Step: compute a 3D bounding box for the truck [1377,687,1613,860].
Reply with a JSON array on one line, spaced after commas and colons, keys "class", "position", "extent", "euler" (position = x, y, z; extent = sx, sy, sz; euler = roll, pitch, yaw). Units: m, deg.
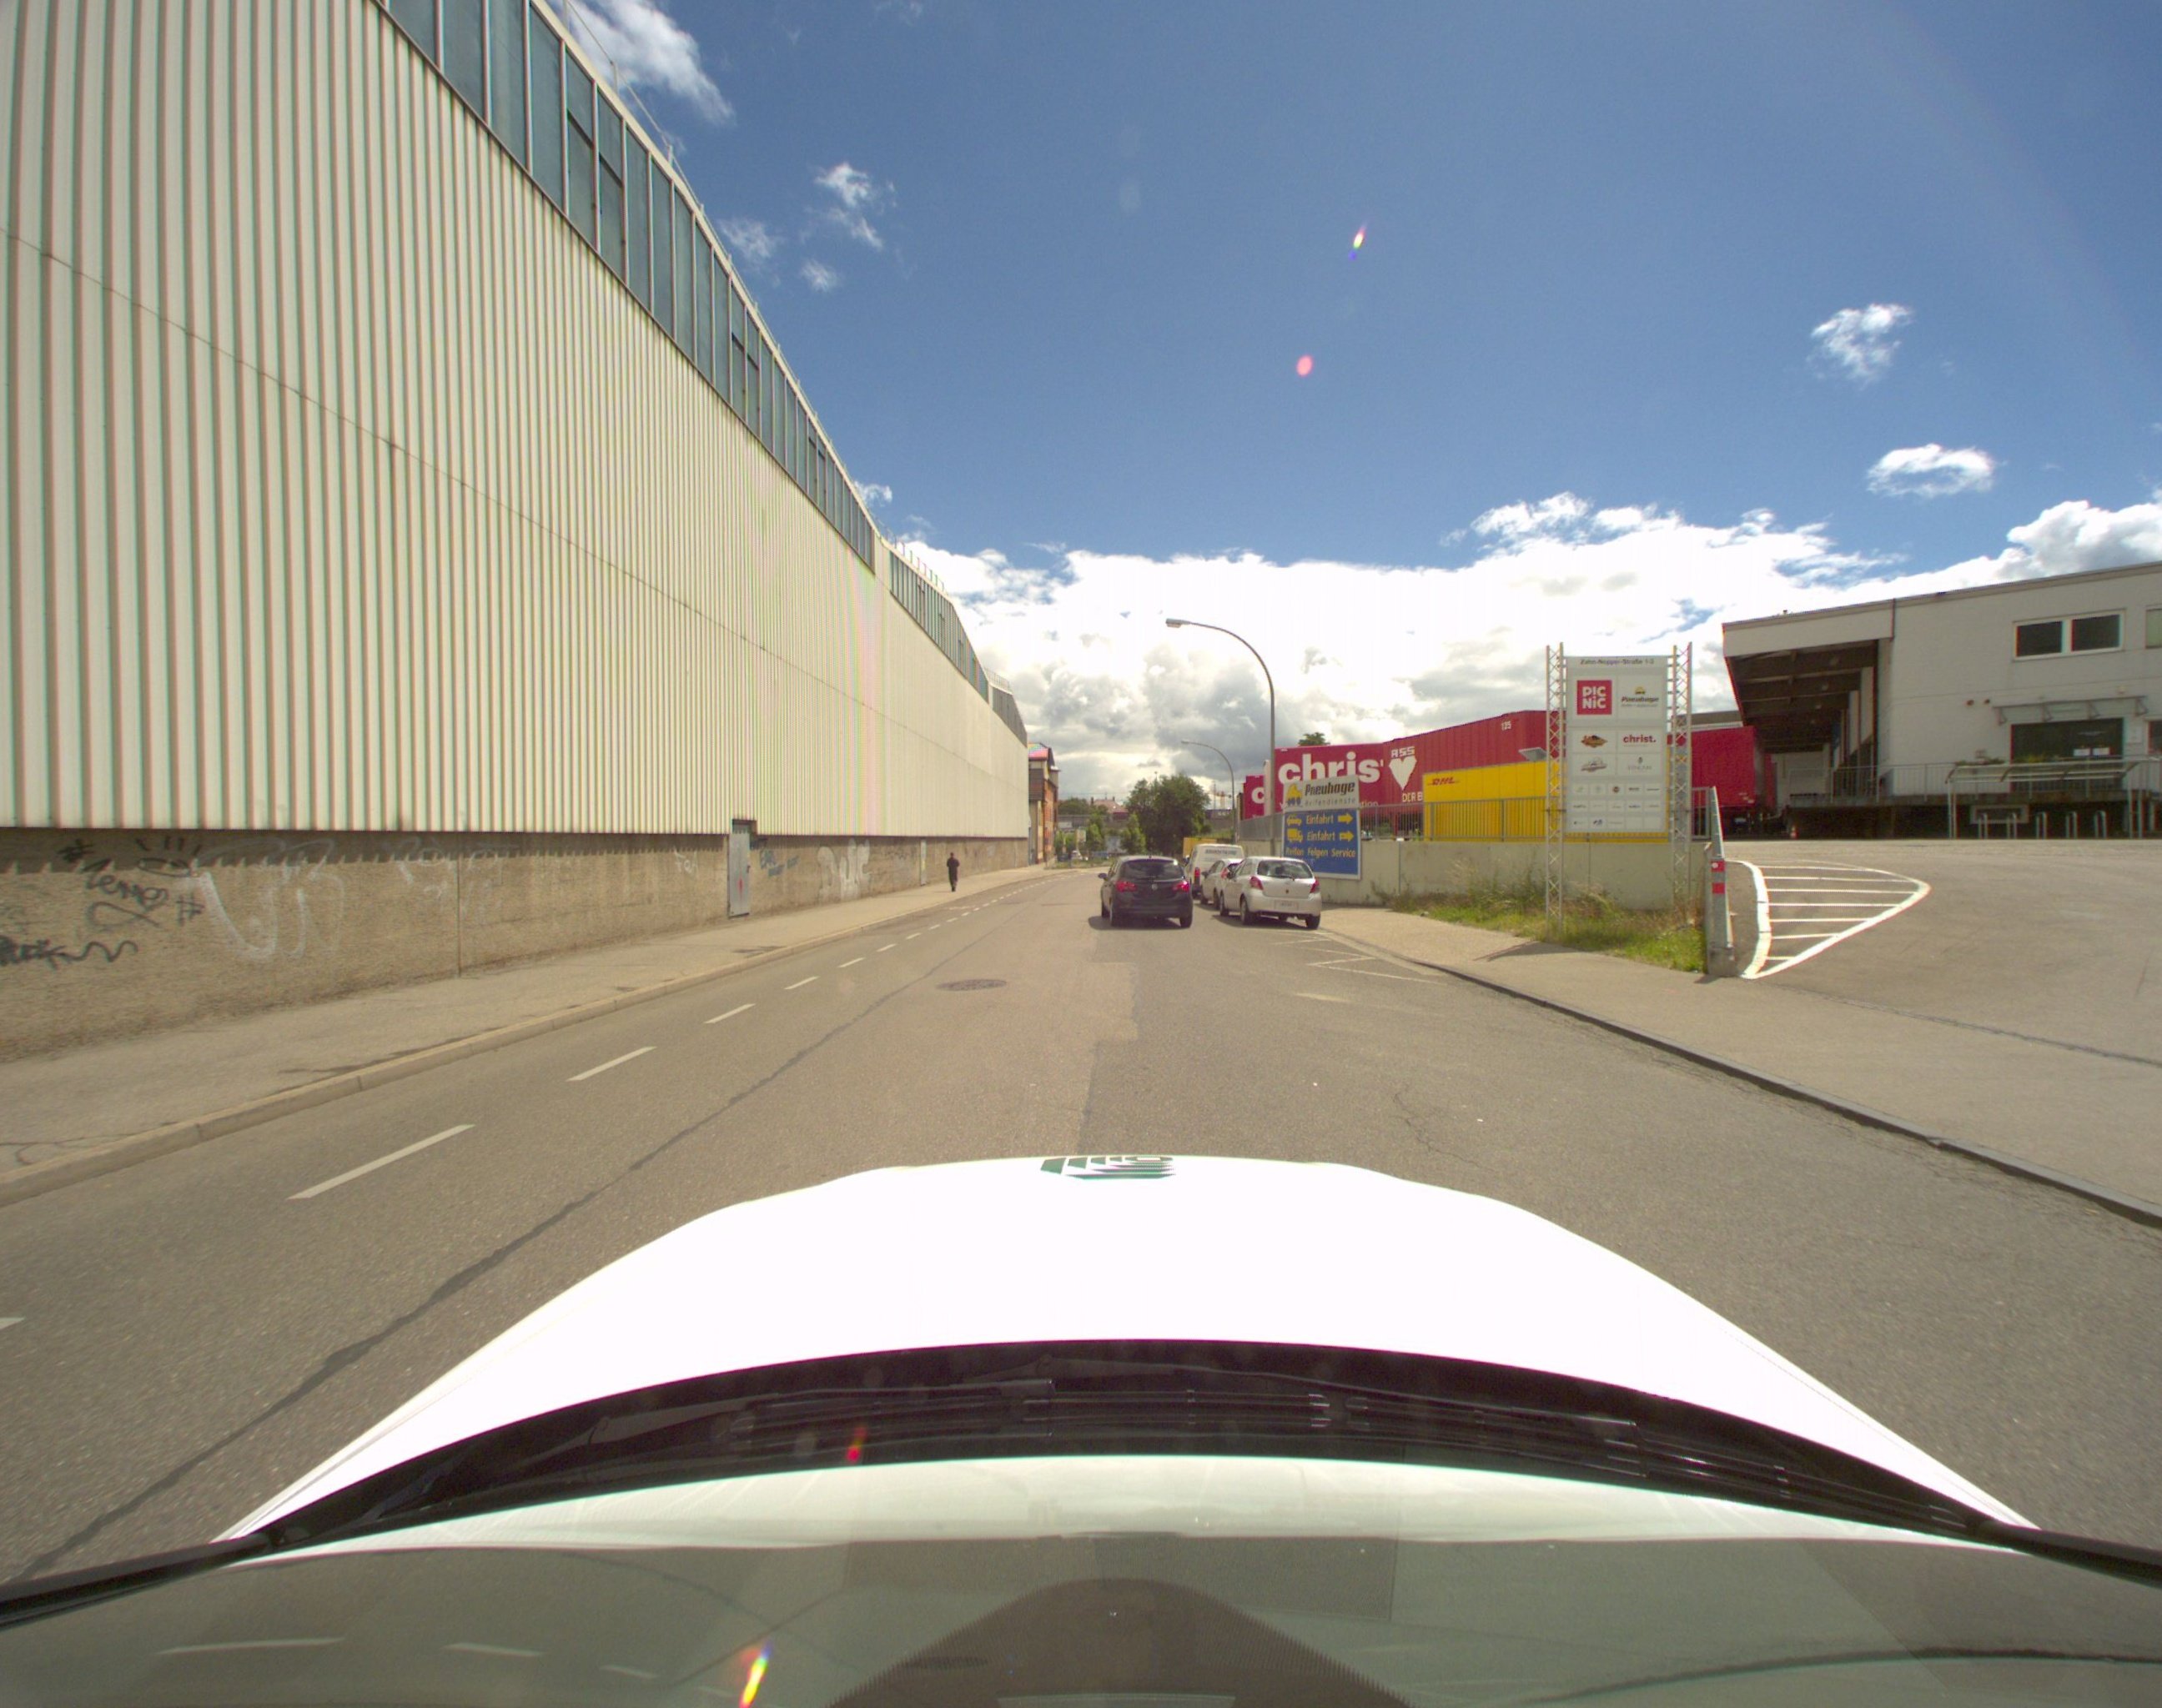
[{"class": "truck", "position": [12.615, -2.143, 25.875], "extent": [2.573, 4.449, 7.838], "euler": [0, -2, -9]}]

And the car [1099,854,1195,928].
[{"class": "car", "position": [1.345, 0.729, 18.030], "extent": [1.697, 1.447, 3.791], "euler": [0, 0, -2]}]

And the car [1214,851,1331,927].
[{"class": "car", "position": [4.305, 0.720, 18.902], "extent": [1.696, 1.527, 3.735], "euler": [2, 0, -2]}]

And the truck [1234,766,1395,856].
[{"class": "truck", "position": [12.962, -2.310, 45.784], "extent": [8.392, 4.671, 2.591], "euler": [-1, -2, 12]}]

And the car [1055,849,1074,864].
[{"class": "car", "position": [-1.750, 0.248, 86.029], "extent": [1.846, 1.486, 4.001], "euler": [0, -2, 1]}]

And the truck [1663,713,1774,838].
[{"class": "truck", "position": [25.892, -2.851, 32.902], "extent": [2.961, 4.060, 8.529], "euler": [-2, -2, 41]}]

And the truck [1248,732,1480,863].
[{"class": "truck", "position": [11.174, -2.044, 32.594], "extent": [8.375, 4.671, 2.596], "euler": [-1, -2, 22]}]

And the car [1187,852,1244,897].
[{"class": "car", "position": [4.832, 0.702, 29.707], "extent": [1.694, 1.527, 3.741], "euler": [0, 0, 4]}]

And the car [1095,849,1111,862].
[{"class": "car", "position": [2.676, 0.188, 97.382], "extent": [1.846, 1.486, 4.001], "euler": [0, -2, 1]}]

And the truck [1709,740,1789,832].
[{"class": "truck", "position": [36.221, -3.451, 44.008], "extent": [2.961, 4.060, 8.529], "euler": [-2, -2, 41]}]

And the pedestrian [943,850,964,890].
[{"class": "pedestrian", "position": [-5.279, 0.673, 33.678], "extent": [0.710, 1.638, 0.778], "euler": [0, -2, 4]}]

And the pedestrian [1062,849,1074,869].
[{"class": "pedestrian", "position": [-1.091, 0.404, 69.280], "extent": [0.849, 1.663, 0.861], "euler": [0, -2, 6]}]
